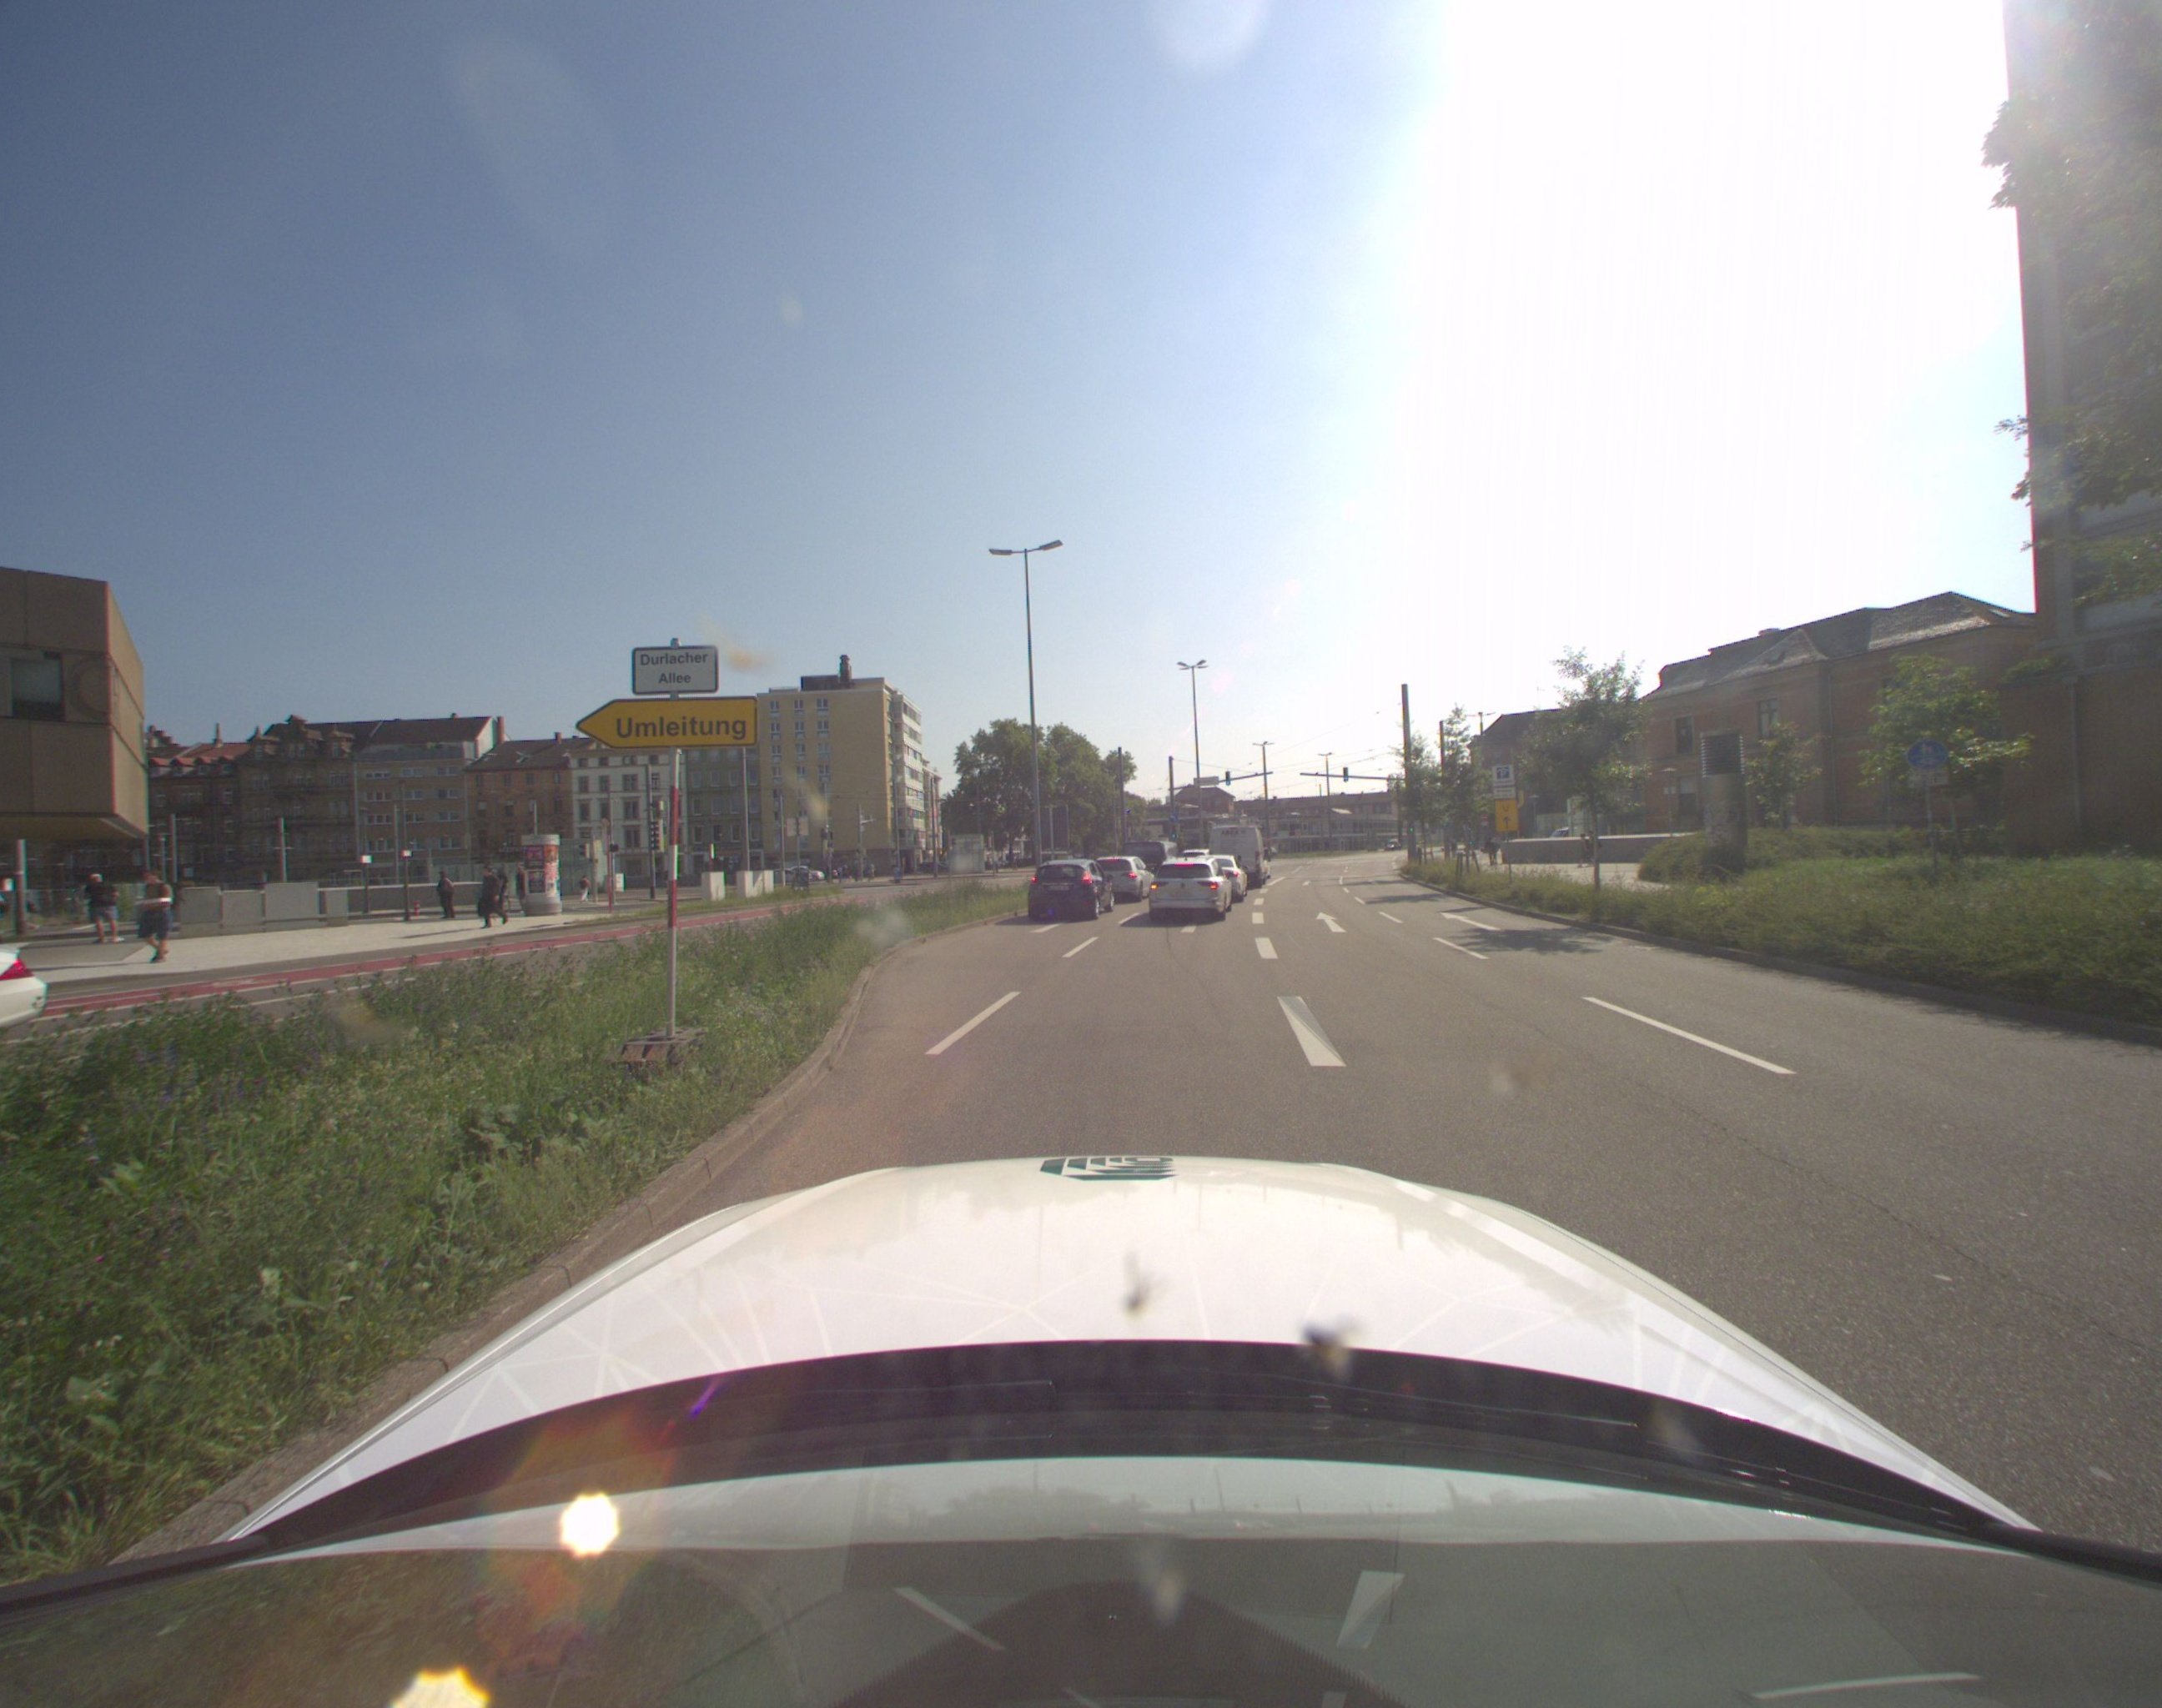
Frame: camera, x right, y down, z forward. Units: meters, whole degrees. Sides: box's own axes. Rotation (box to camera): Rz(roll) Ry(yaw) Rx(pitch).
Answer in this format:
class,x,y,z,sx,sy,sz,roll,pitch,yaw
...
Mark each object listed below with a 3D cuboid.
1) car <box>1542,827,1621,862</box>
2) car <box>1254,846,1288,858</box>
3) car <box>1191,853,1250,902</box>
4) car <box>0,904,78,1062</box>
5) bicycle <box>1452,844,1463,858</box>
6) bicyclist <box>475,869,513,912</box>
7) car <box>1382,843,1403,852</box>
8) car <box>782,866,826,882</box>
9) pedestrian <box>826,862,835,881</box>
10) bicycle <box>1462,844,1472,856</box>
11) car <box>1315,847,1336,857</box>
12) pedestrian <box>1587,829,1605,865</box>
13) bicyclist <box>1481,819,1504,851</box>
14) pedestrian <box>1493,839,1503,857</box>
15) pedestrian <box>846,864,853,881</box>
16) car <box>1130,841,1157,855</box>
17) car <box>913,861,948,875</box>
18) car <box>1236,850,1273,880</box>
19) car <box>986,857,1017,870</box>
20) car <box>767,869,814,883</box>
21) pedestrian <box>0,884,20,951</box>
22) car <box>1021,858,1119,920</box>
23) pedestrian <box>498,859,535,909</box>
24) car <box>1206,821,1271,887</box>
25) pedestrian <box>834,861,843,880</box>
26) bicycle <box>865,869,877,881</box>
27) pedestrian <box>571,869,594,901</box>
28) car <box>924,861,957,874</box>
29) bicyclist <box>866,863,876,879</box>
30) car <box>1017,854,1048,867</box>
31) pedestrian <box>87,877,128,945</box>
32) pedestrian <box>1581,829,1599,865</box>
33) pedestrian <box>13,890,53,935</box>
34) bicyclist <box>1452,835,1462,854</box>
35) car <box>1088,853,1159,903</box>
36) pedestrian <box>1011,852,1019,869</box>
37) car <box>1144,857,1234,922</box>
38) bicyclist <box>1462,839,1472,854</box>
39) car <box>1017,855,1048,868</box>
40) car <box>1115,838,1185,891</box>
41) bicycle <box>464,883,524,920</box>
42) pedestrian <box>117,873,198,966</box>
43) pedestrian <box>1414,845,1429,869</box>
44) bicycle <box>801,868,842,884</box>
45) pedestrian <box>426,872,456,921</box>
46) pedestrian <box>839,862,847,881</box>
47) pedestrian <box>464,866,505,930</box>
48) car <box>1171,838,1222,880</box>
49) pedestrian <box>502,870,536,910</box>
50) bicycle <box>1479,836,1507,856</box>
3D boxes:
class,x,y,z,sx,sy,sz,roll,pitch,yaw
car,31.084,-0.610,50.634,3.981,2.013,1.751,-3,2,-6
car,23.622,-0.214,101.189,3.943,1.342,1.935,-2,0,8
car,4.468,0.698,25.709,1.478,1.403,3.957,-2,-1,14
car,-10.666,1.143,5.378,1.832,1.361,4.828,-1,-1,7
bicycle,30.670,-0.265,66.392,0.699,1.061,1.994,-3,0,27
bicyclist,-20.028,1.233,27.816,0.559,1.361,0.884,-1,2,4
car,55.539,-1.208,145.132,1.975,1.442,4.024,-3,0,44
car,-27.229,1.958,80.026,3.724,1.393,1.587,-2,0,1
pedestrian,-22.353,1.540,72.756,0.450,1.685,0.550,-3,0,25
bicycle,36.101,-0.362,76.135,0.699,1.061,1.994,-3,0,27
car,40.417,-0.359,134.327,1.974,1.442,4.026,-3,0,37
pedestrian,24.361,-0.329,38.535,0.608,1.628,0.537,-3,-1,30
bicyclist,20.868,-0.970,41.328,0.766,1.578,0.994,-2,-1,13
pedestrian,37.201,-0.544,72.592,0.739,1.529,0.811,-3,0,27
pedestrian,-21.240,1.696,74.713,0.501,1.487,0.435,-4,3,-38
car,10.094,-0.914,131.482,3.961,2.013,2.007,-2,2,11
car,-18.787,1.718,101.673,3.973,1.557,1.870,-2,2,1
car,9.109,0.546,42.598,1.625,1.403,3.702,-2,0,15
car,-10.644,1.217,109.670,3.974,1.558,1.728,-2,0,0
car,-27.417,2.062,77.010,3.812,1.180,1.577,-2,-2,3
pedestrian,-28.141,1.653,21.137,0.526,1.695,0.611,-1,3,34
car,-0.172,0.828,20.707,1.690,1.368,3.975,-2,0,11
pedestrian,-21.858,1.154,31.548,0.882,1.819,0.890,-3,2,-20
car,6.706,0.009,34.324,2.172,2.549,4.703,-2,-1,16
pedestrian,-21.866,1.517,73.393,0.451,1.684,0.549,-2,2,13
bicycle,-19.097,1.911,74.078,0.726,0.984,1.730,-2,0,-3
pedestrian,-28.694,1.767,46.905,0.830,1.819,0.778,-1,-2,0
car,-18.752,1.813,108.724,3.974,1.558,1.869,-2,0,0
bicyclist,-19.118,1.562,74.154,0.724,1.434,0.689,-2,0,-3
car,-6.619,0.844,112.117,3.969,1.618,1.815,-2,0,4
pedestrian,-26.796,1.559,22.420,0.388,1.819,0.561,-1,2,26
pedestrian,23.866,-0.330,38.170,0.608,1.639,0.537,-3,-1,34
pedestrian,-38.267,2.127,29.743,0.683,1.591,0.803,-2,0,31
bicyclist,30.648,-0.773,66.386,0.706,1.529,0.811,-3,0,27
car,1.466,0.744,26.747,1.478,1.415,3.664,-2,0,16
pedestrian,-7.823,0.761,96.091,0.818,2.013,0.509,-2,0,3
car,2.674,0.791,19.495,1.673,1.387,3.648,-2,-1,14
bicyclist,36.102,-0.698,76.168,0.699,1.394,0.834,-3,0,27
car,-6.526,1.022,110.022,3.969,1.618,1.815,-2,0,4
car,2.957,0.409,33.798,2.008,2.008,4.702,-2,0,15
bicycle,-20.017,1.598,27.819,0.559,1.064,1.854,-1,2,5
pedestrian,-18.267,1.268,16.125,0.679,1.760,0.873,-2,0,-20
pedestrian,19.786,0.192,47.374,0.632,1.362,0.636,-2,0,10
bicycle,-28.205,2.402,88.496,3.976,1.551,1.195,-2,2,-2
pedestrian,-21.254,1.397,27.058,0.493,1.579,0.510,-2,2,15
pedestrian,-21.730,1.603,74.317,0.458,1.684,0.435,-4,3,-38
pedestrian,-17.642,1.281,24.112,0.852,1.778,0.867,-4,3,-34
car,6.077,0.233,42.360,2.008,2.008,4.702,-2,0,15
pedestrian,-30.213,1.937,43.783,0.955,2.013,1.022,-2,2,1
bicycle,20.888,-0.389,41.310,0.766,0.976,2.157,-2,0,13
